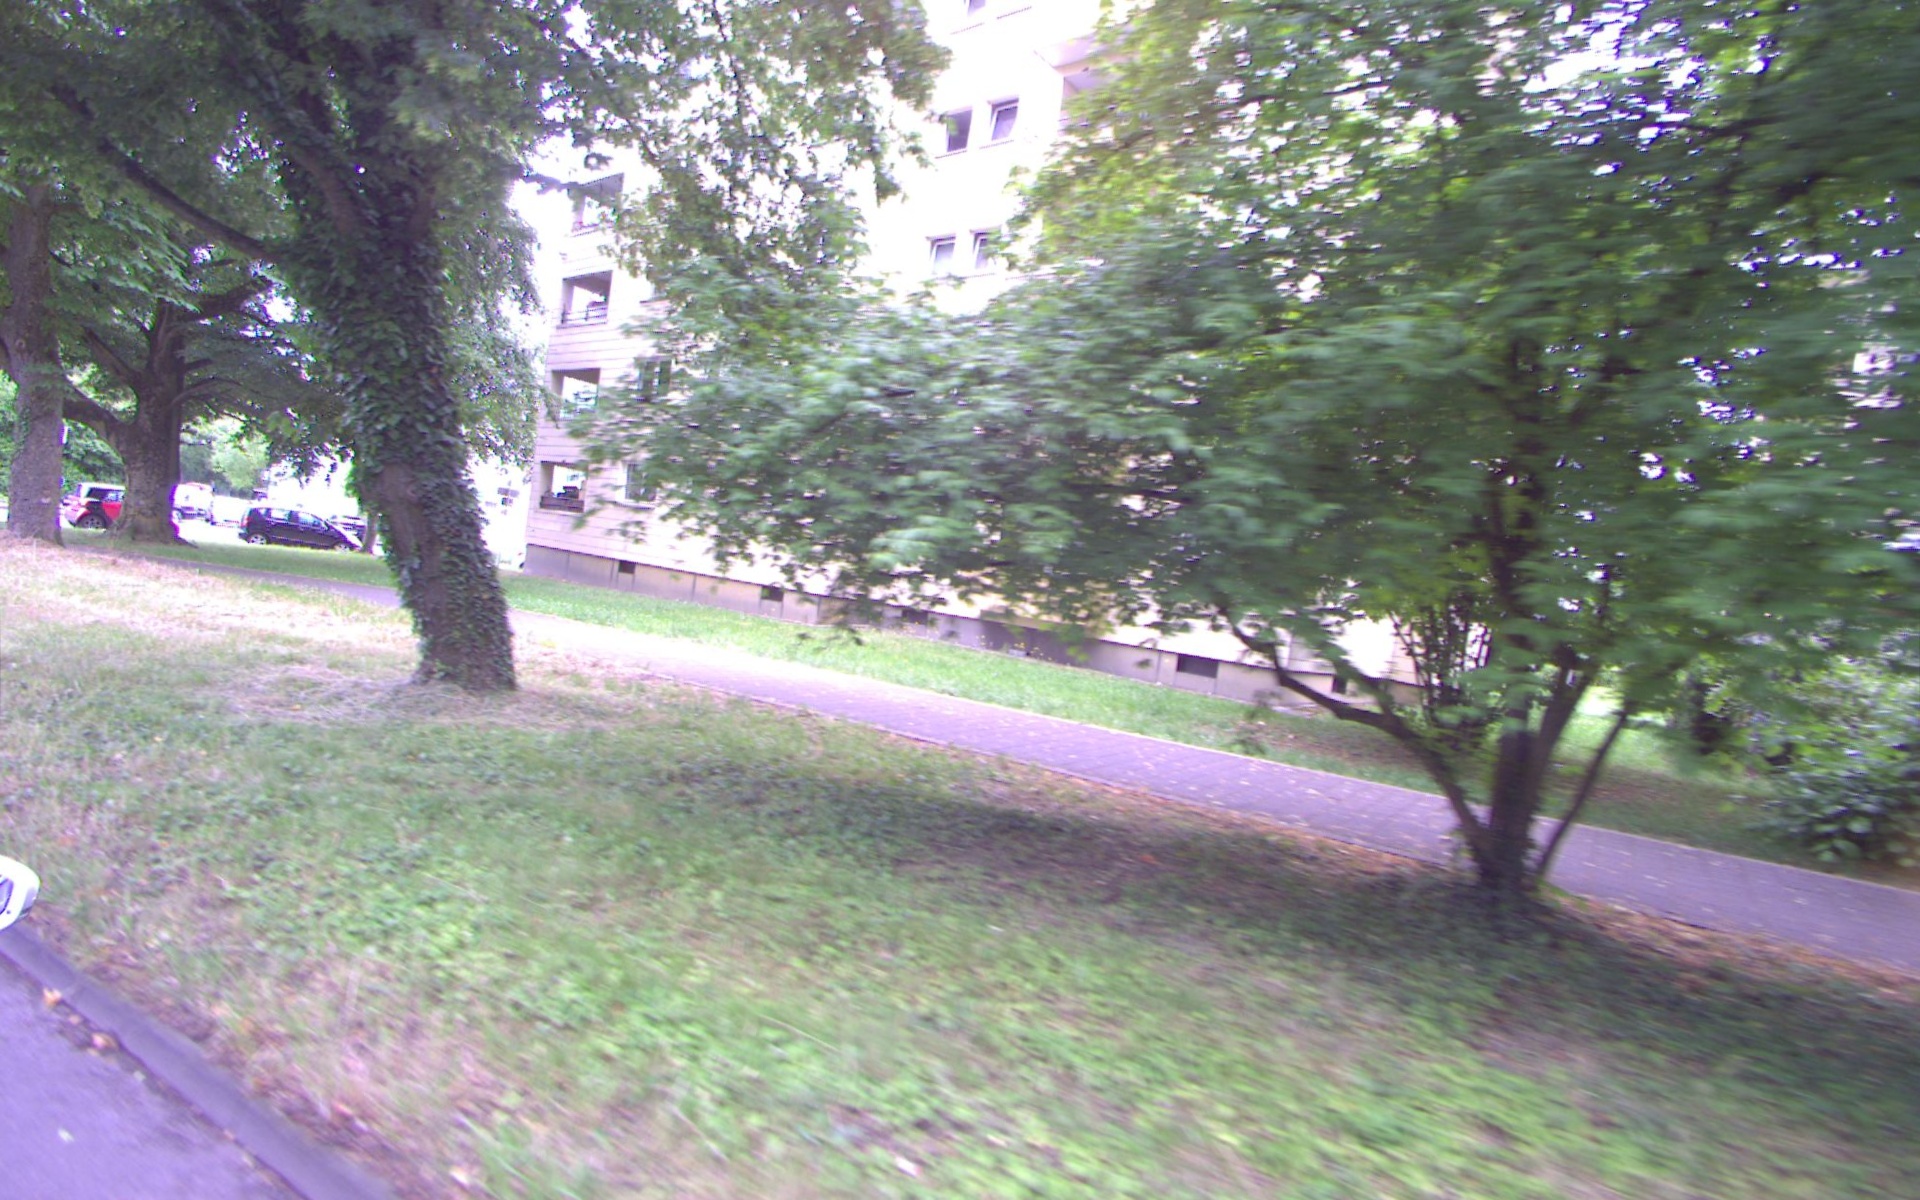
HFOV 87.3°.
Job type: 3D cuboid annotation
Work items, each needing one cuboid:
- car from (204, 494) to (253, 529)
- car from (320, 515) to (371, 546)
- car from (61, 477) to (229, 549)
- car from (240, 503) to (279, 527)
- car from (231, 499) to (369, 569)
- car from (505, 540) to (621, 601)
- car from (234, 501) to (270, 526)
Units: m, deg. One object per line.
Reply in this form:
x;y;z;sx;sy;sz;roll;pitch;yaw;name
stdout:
-38.489;-4.635;53.032;1.782;1.529;3.964;6;1;-33;car
-36.940;-4.181;60.439;2.073;1.529;3.956;6;1;-39;car
-27.120;-2.856;33.562;1.774;1.576;3.984;11;2;40;car
-52.681;-6.406;75.632;1.788;1.529;3.951;6;1;-43;car
-23.929;-2.383;36.529;3.969;1.747;1.780;9;2;-37;car
-15.799;-1.182;40.243;3.939;1.764;1.793;9;1;-15;car
-55.932;-6.865;79.439;1.788;1.633;3.951;6;1;-43;car
